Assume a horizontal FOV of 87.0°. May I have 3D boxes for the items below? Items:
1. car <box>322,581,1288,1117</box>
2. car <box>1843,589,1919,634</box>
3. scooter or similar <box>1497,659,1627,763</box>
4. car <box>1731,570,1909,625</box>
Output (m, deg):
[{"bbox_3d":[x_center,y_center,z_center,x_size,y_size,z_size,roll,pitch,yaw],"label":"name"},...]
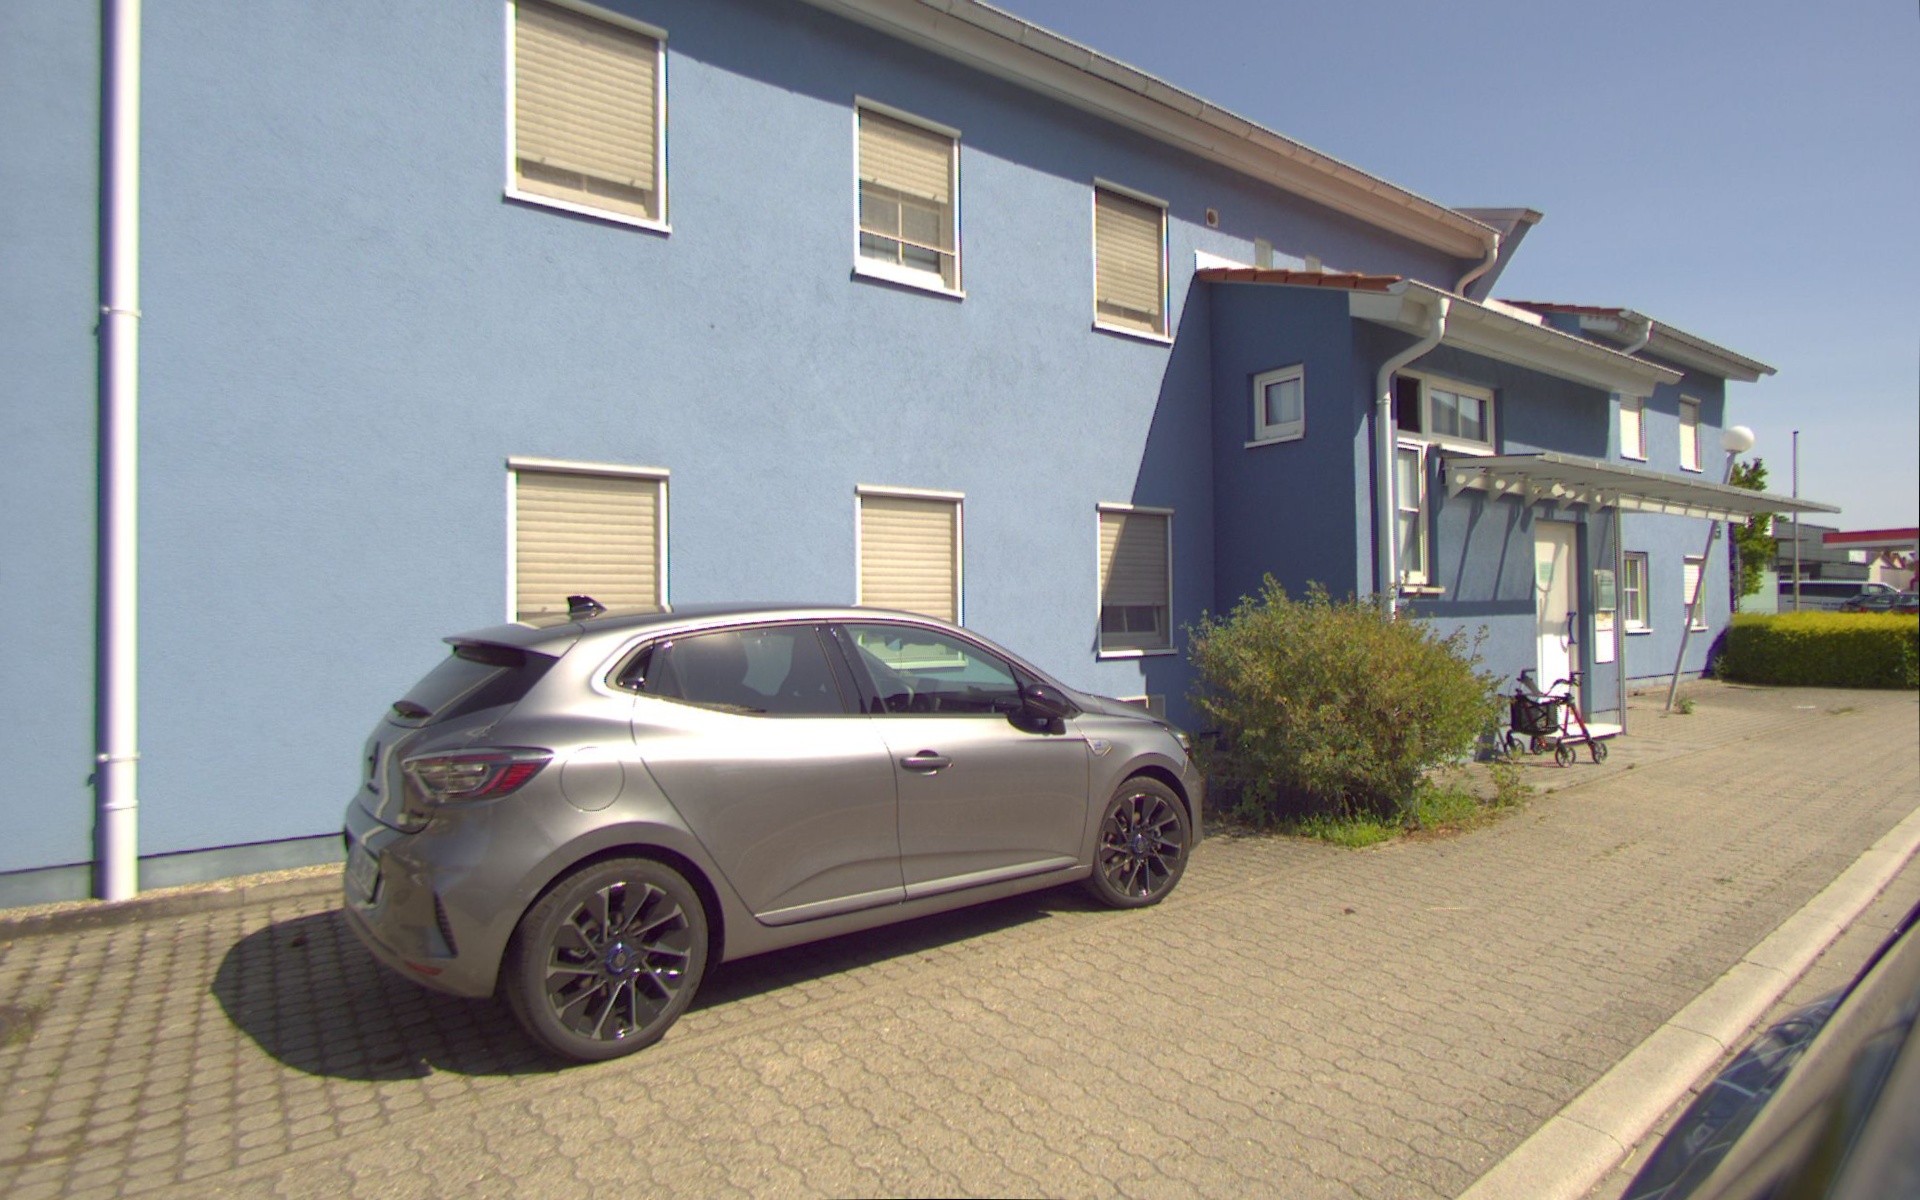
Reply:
[{"bbox_3d":[-0.455,0.666,4.650,4.069,1.438,1.694,-1,-1,-37],"label":"car"},{"bbox_3d":[34.418,0.379,35.884,4.275,1.570,1.966,0,0,27],"label":"car"},{"bbox_3d":[5.484,0.984,9.234,0.811,0.825,0.730,-1,0,-33],"label":"scooter or similar"},{"bbox_3d":[34.059,-0.094,40.349,5.257,2.039,2.202,0,0,38],"label":"car"}]
